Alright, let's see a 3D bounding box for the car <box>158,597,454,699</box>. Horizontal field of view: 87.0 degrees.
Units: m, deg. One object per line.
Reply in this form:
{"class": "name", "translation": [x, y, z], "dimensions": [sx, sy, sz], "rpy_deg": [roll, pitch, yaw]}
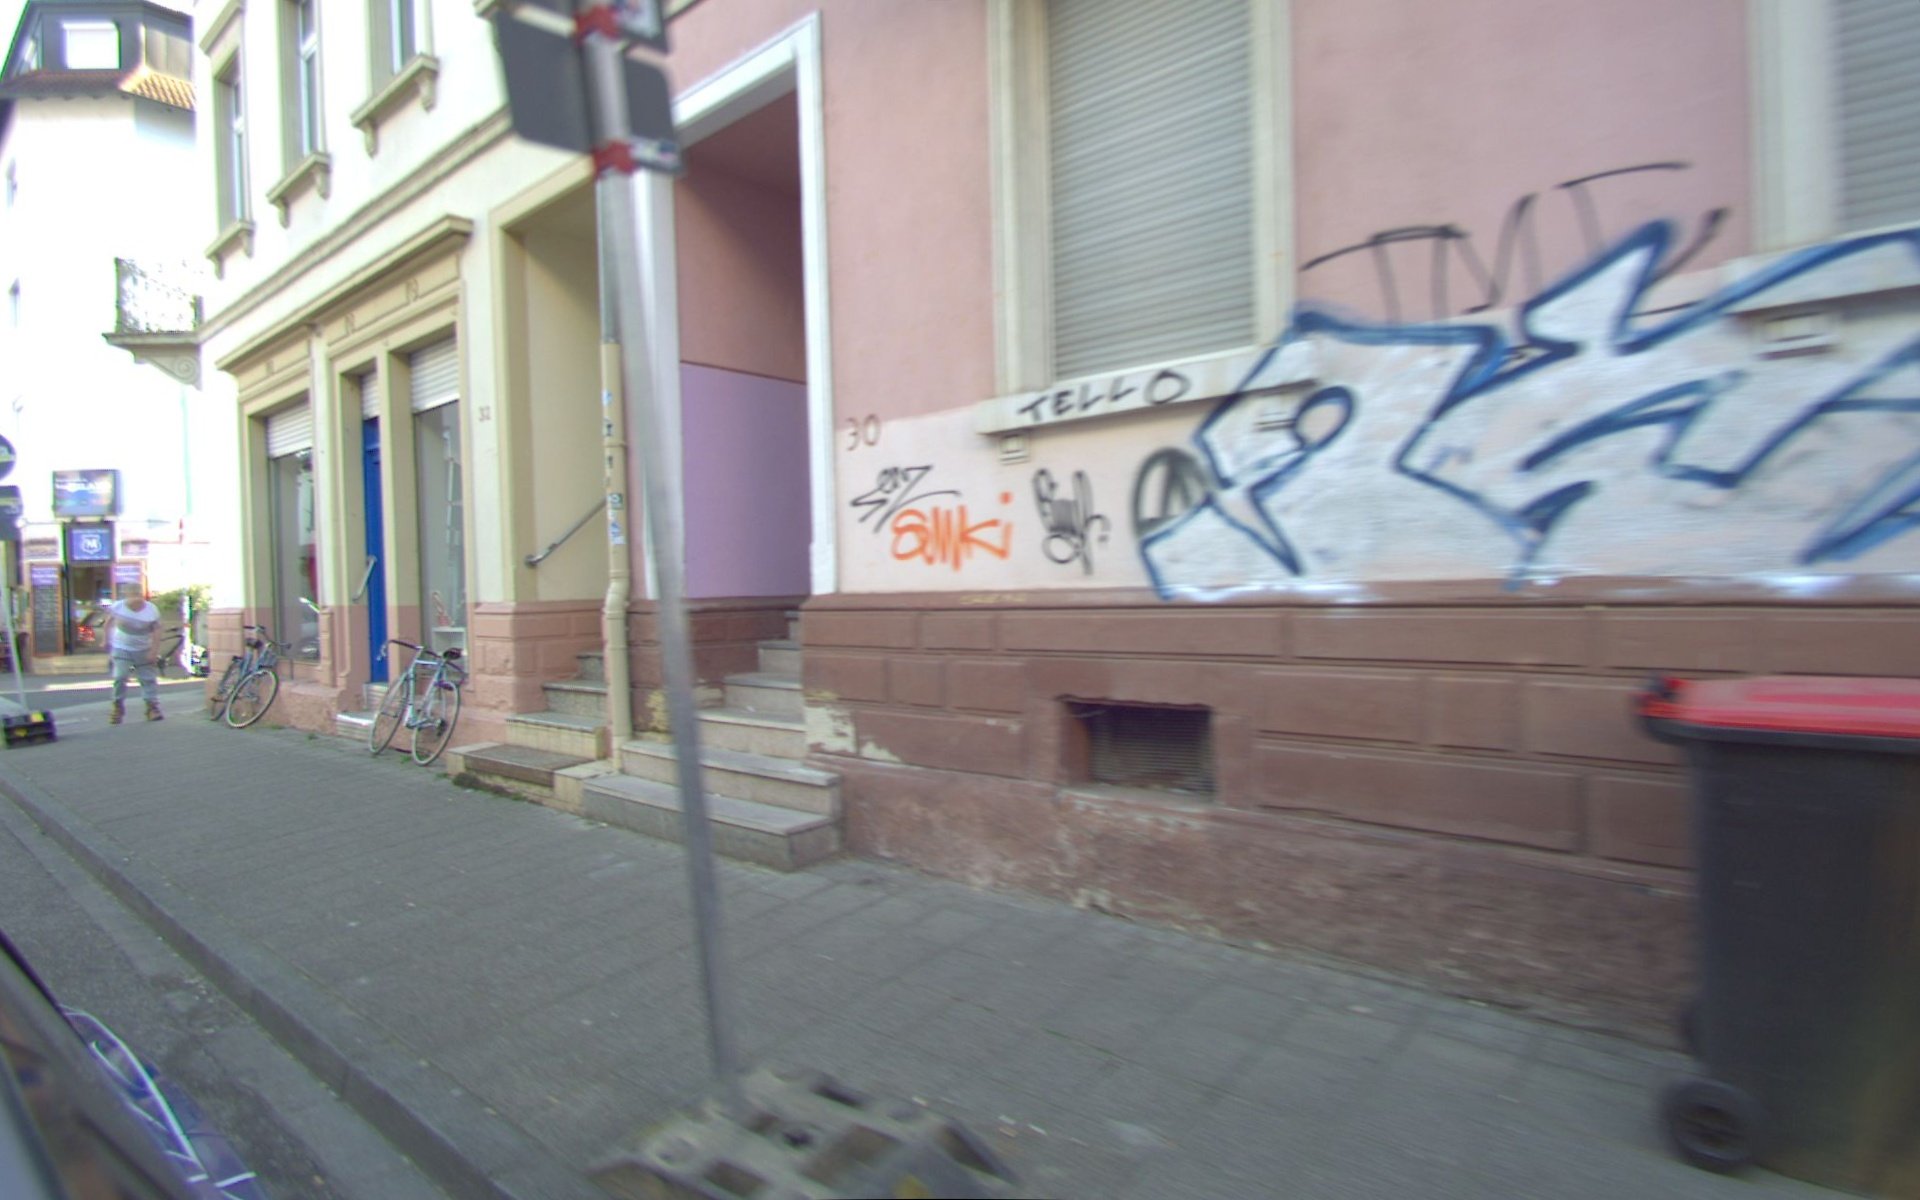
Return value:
{"class": "car", "translation": [-11.581, 0.771, 18.166], "dimensions": [1.757, 1.466, 4.100], "rpy_deg": [-1, 1, 38]}

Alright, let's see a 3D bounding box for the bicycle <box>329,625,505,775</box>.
{"class": "bicycle", "translation": [-4.381, 0.741, 8.106], "dimensions": [1.817, 1.030, 0.616], "rpy_deg": [-1, 2, 42]}

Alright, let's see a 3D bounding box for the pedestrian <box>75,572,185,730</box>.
{"class": "pedestrian", "translation": [-9.693, 0.585, 11.821], "dimensions": [0.864, 1.713, 0.687], "rpy_deg": [-4, 4, 41]}

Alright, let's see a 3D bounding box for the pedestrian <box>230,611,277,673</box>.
{"class": "pedestrian", "translation": [-15.484, 0.905, 22.188], "dimensions": [0.660, 1.275, 0.678], "rpy_deg": [0, 3, 45]}

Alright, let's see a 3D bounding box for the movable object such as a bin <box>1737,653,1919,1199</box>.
{"class": "movable object such as a bin", "translation": [2.022, 0.667, 2.123], "dimensions": [0.596, 1.043, 0.599], "rpy_deg": [-1, 2, 40]}

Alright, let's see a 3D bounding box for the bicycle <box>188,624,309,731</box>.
{"class": "bicycle", "translation": [-7.848, 0.815, 11.132], "dimensions": [1.817, 1.029, 0.597], "rpy_deg": [-2, 4, 42]}

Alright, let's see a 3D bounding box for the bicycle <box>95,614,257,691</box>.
{"class": "bicycle", "translation": [-15.848, 1.018, 20.526], "dimensions": [0.928, 1.369, 2.450], "rpy_deg": [-1, 1, 41]}
